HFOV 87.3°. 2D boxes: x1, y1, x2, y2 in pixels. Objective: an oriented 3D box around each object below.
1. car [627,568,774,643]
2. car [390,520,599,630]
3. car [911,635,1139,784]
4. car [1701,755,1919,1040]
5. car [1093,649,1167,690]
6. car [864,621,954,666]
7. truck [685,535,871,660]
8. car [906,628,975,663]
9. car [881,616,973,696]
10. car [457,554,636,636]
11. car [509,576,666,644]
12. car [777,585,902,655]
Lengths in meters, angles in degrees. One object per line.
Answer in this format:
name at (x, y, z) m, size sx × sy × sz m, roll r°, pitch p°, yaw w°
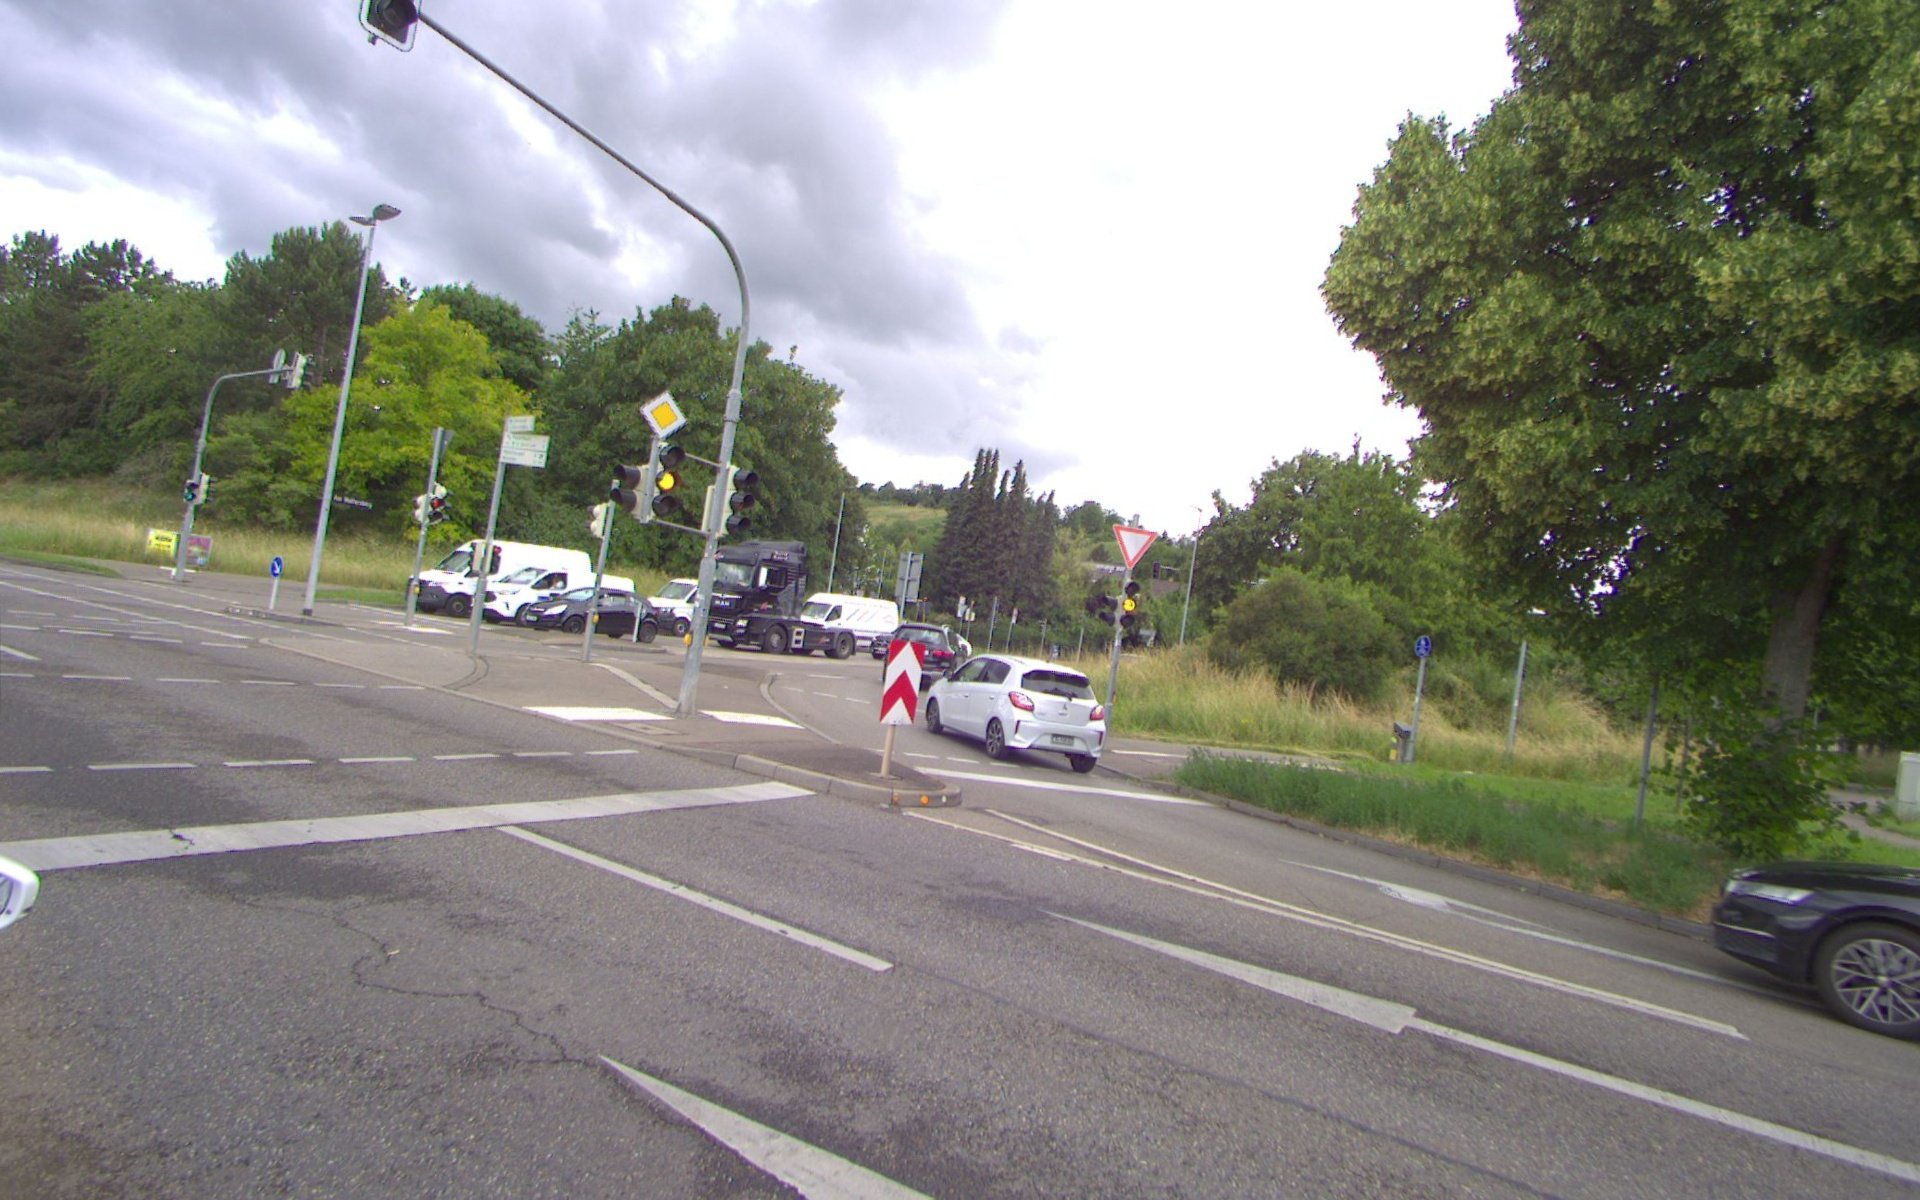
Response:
car at (-10.430, 0.292, 40.909) m, size 2.100 × 2.316 × 5.709 m, roll 7°, pitch -1°, yaw 32°
car at (-15.340, -0.734, 33.602) m, size 2.100 × 2.814 × 5.903 m, roll 7°, pitch -1°, yaw 32°
car at (0.847, 1.586, 15.530) m, size 1.766 × 1.459 × 3.811 m, roll 11°, pitch -1°, yaw -23°
car at (7.111, 2.062, 5.729) m, size 4.463 × 1.461 × 1.782 m, roll 7°, pitch -5°, yaw 40°
car at (8.215, 3.355, 48.372) m, size 1.757 × 1.553 × 4.297 m, roll 8°, pitch -1°, yaw 33°
car at (-2.074, 1.837, 42.059) m, size 1.703 × 1.453 × 3.927 m, roll 7°, pitch -1°, yaw 31°
truck at (-6.216, 0.027, 35.345) m, size 2.682 × 3.580 × 6.061 m, roll 7°, pitch -1°, yaw 32°
car at (-1.022, 2.495, 54.904) m, size 1.704 × 1.453 × 3.925 m, roll 7°, pitch -1°, yaw 33°
car at (-0.788, 1.487, 26.856) m, size 1.754 × 1.667 × 4.431 m, roll 10°, pitch -2°, yaw 4°
car at (-12.937, -0.093, 31.820) m, size 1.999 × 1.918 × 4.862 m, roll 7°, pitch -1°, yaw 31°
car at (-10.610, 0.337, 28.934) m, size 1.703 × 1.453 × 3.927 m, roll 7°, pitch -1°, yaw 31°
car at (-5.670, 1.055, 48.624) m, size 2.160 × 2.640 × 6.509 m, roll 7°, pitch -1°, yaw 32°
